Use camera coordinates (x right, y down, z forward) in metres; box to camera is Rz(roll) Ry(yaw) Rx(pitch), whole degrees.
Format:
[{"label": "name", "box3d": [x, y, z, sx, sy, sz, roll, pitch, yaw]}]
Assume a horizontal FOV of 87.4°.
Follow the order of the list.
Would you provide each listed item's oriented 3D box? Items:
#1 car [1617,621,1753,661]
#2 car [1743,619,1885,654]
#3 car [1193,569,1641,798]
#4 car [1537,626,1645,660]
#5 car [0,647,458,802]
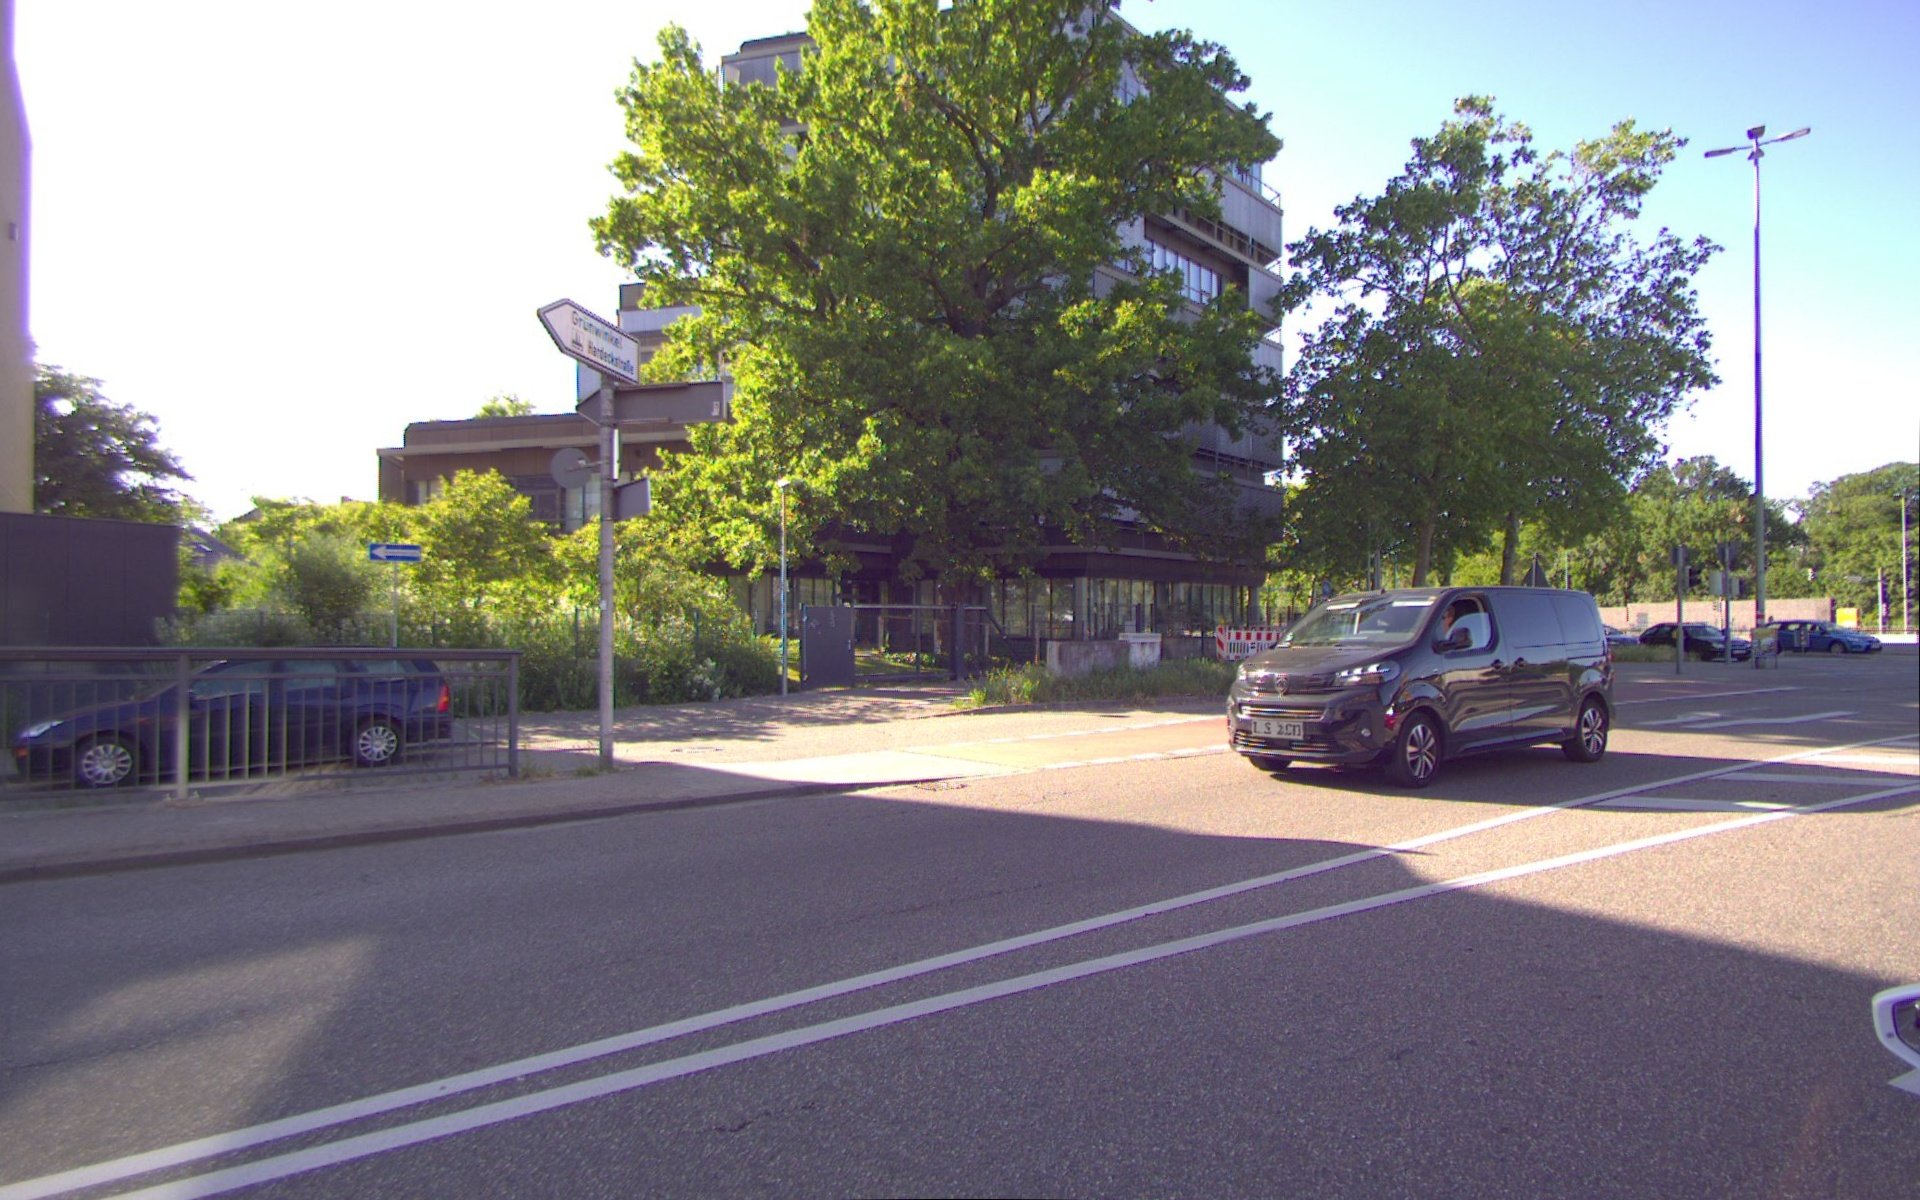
[{"label": "car", "box3d": [28.128, 1.571, 39.174, 1.791, 1.457, 4.448, 0, -2, -6]}, {"label": "car", "box3d": [36.903, 1.571, 43.560, 1.796, 1.457, 4.437, 0, -2, -15]}, {"label": "car", "box3d": [4.951, 0.756, 10.707, 4.796, 1.961, 1.984, 1, -1, -31]}, {"label": "car", "box3d": [28.569, 1.905, 45.648, 1.791, 1.457, 4.448, 0, -2, -6]}, {"label": "car", "box3d": [-8.833, 1.390, 12.485, 4.409, 1.523, 1.807, 1, -2, -37]}]
